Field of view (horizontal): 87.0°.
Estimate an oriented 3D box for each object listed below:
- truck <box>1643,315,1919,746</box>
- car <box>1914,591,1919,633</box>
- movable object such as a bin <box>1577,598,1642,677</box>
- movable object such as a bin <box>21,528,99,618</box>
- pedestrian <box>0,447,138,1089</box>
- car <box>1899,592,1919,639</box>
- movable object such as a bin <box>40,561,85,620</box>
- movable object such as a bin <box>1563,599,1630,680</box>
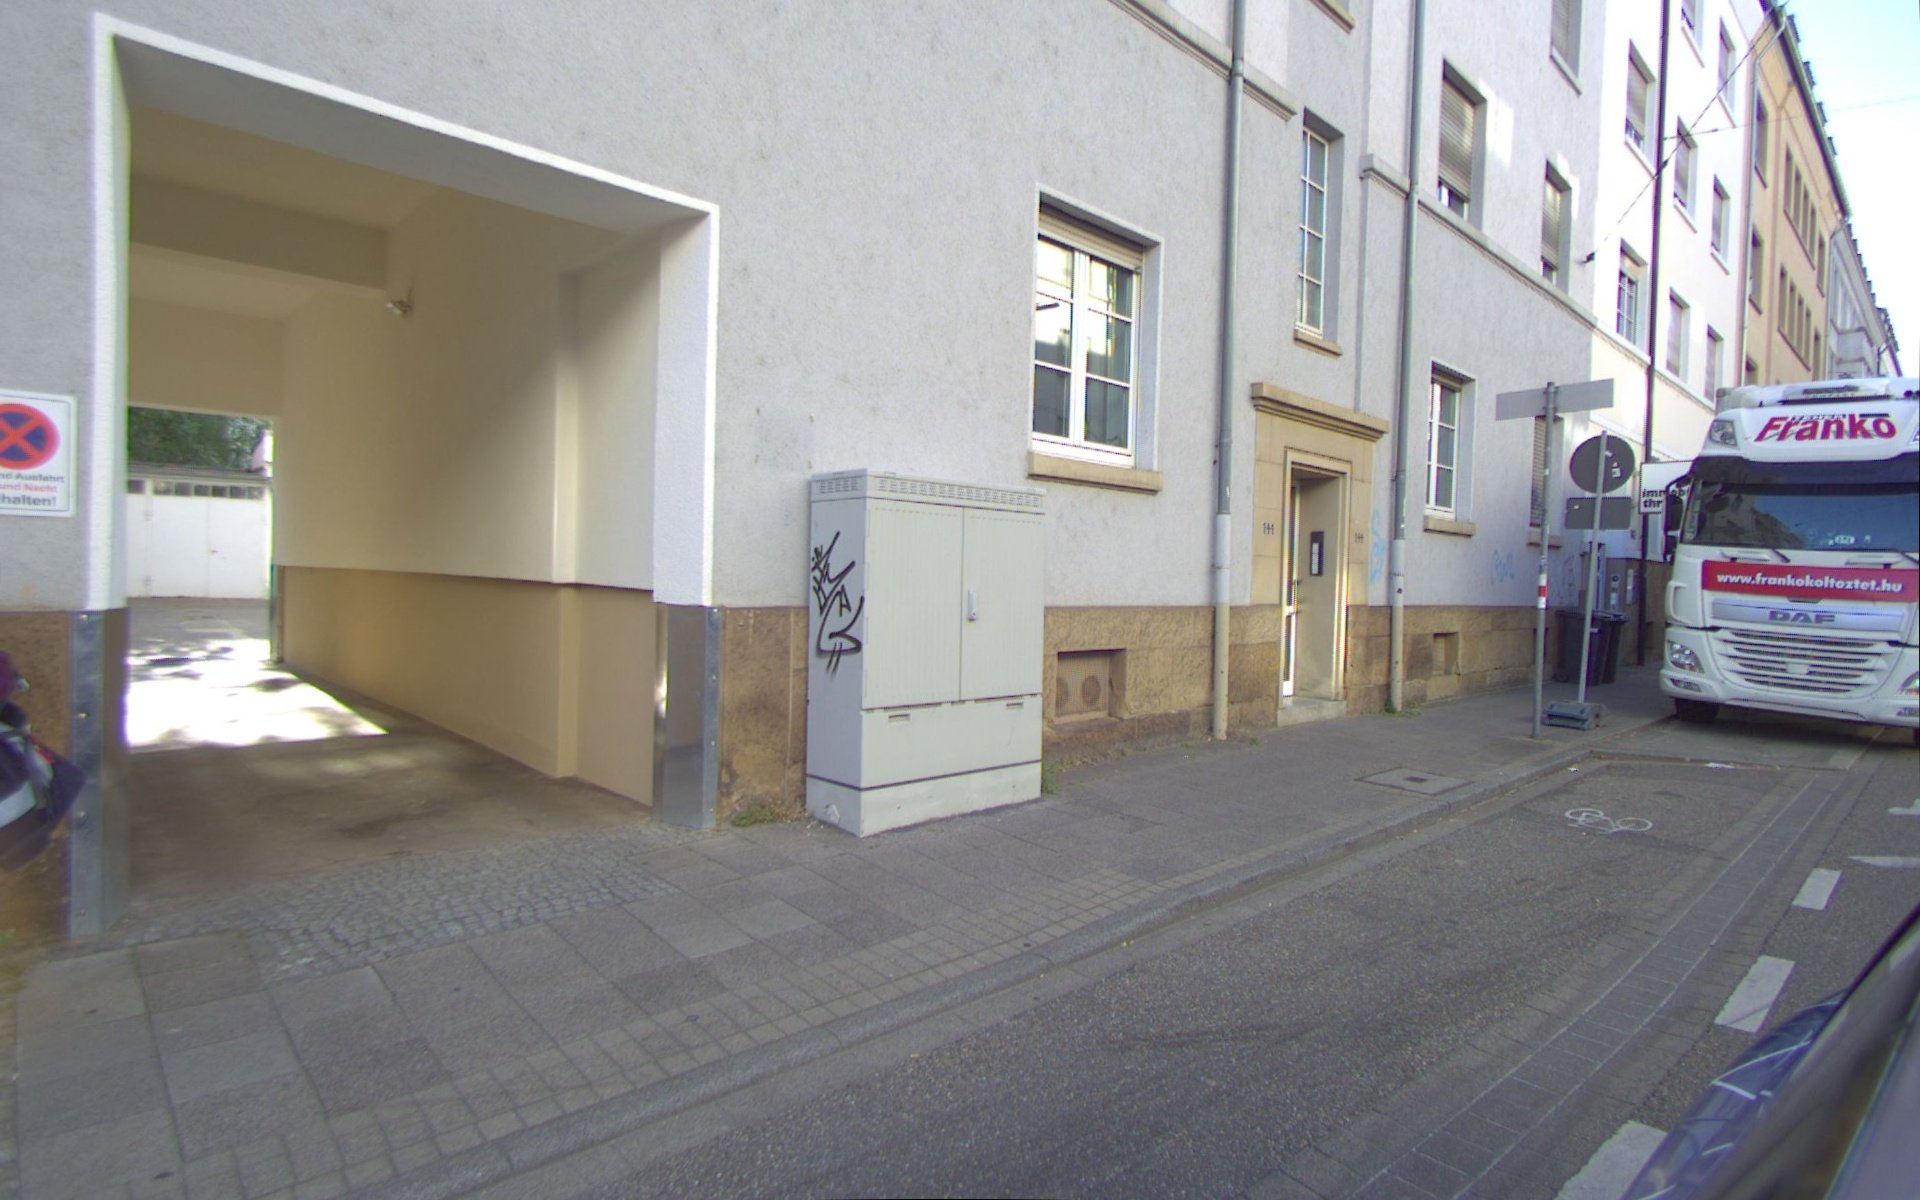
[{"bbox_3d":[12.581,-0.680,13.890,11.621,3.975,2.778,0,2,-44],"label":"truck"},{"bbox_3d":[37.679,0.462,38.642,4.080,1.551,1.681,0,0,-44],"label":"car"},{"bbox_3d":[9.655,0.542,15.049,0.560,1.107,0.665,0,2,-43],"label":"movable object such as a bin"},{"bbox_3d":[-15.148,-0.460,17.026,0.946,1.426,1.597,0,2,-43],"label":"movable object such as a bin"},{"bbox_3d":[-2.783,0.390,2.684,0.854,1.590,0.875,1,3,-43],"label":"pedestrian"},{"bbox_3d":[33.509,0.530,34.744,4.080,1.551,1.681,0,0,-44],"label":"car"},{"bbox_3d":[-14.372,-0.153,16.208,0.518,0.922,0.580,0,2,-43],"label":"movable object such as a bin"},{"bbox_3d":[9.176,0.550,14.598,0.560,1.107,0.665,0,2,-43],"label":"movable object such as a bin"}]
